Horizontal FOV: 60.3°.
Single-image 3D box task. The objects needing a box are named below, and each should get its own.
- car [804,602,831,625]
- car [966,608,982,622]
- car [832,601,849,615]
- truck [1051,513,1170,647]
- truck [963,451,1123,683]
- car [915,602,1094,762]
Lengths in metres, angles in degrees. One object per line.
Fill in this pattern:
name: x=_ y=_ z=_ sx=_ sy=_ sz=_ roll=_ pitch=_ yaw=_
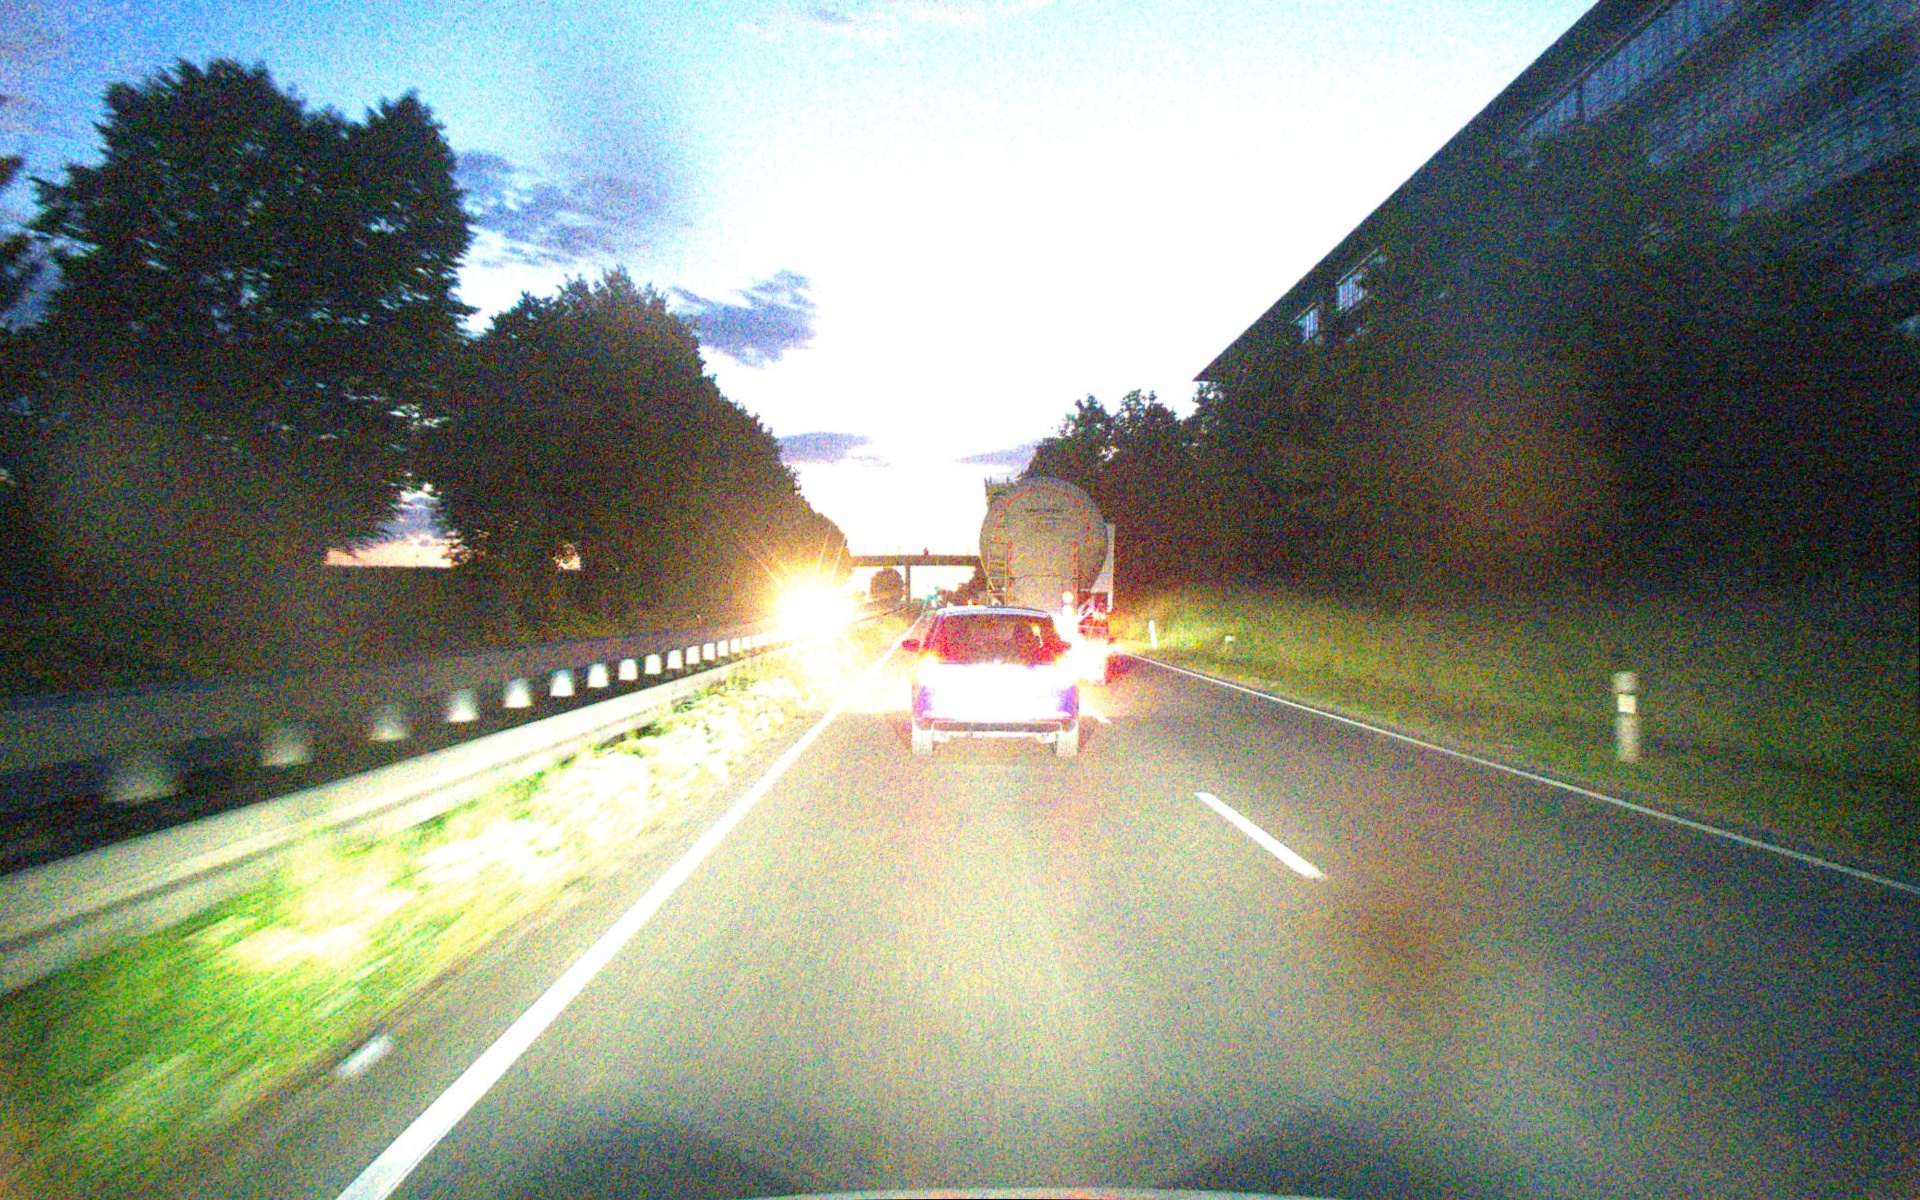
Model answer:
car: x=-10.309 y=0.939 z=119.962 sx=1.648 sy=1.615 sz=4.166 roll=1 pitch=0 yaw=-1
car: x=1.549 y=1.688 z=185.049 sx=1.661 sy=1.478 sz=3.913 roll=1 pitch=0 yaw=-1
car: x=-13.237 y=0.893 z=183.234 sx=1.584 sy=1.533 sz=3.868 roll=1 pitch=0 yaw=-1
truck: x=5.133 y=-0.591 z=58.783 sx=2.824 sy=4.178 sz=12.680 roll=1 pitch=0 yaw=-1
truck: x=1.523 y=-0.547 z=36.636 sx=2.633 sy=4.178 sz=13.138 roll=1 pitch=0 yaw=-1
car: x=0.393 y=0.786 z=17.475 sx=1.661 sy=1.478 sz=3.913 roll=1 pitch=0 yaw=-1
